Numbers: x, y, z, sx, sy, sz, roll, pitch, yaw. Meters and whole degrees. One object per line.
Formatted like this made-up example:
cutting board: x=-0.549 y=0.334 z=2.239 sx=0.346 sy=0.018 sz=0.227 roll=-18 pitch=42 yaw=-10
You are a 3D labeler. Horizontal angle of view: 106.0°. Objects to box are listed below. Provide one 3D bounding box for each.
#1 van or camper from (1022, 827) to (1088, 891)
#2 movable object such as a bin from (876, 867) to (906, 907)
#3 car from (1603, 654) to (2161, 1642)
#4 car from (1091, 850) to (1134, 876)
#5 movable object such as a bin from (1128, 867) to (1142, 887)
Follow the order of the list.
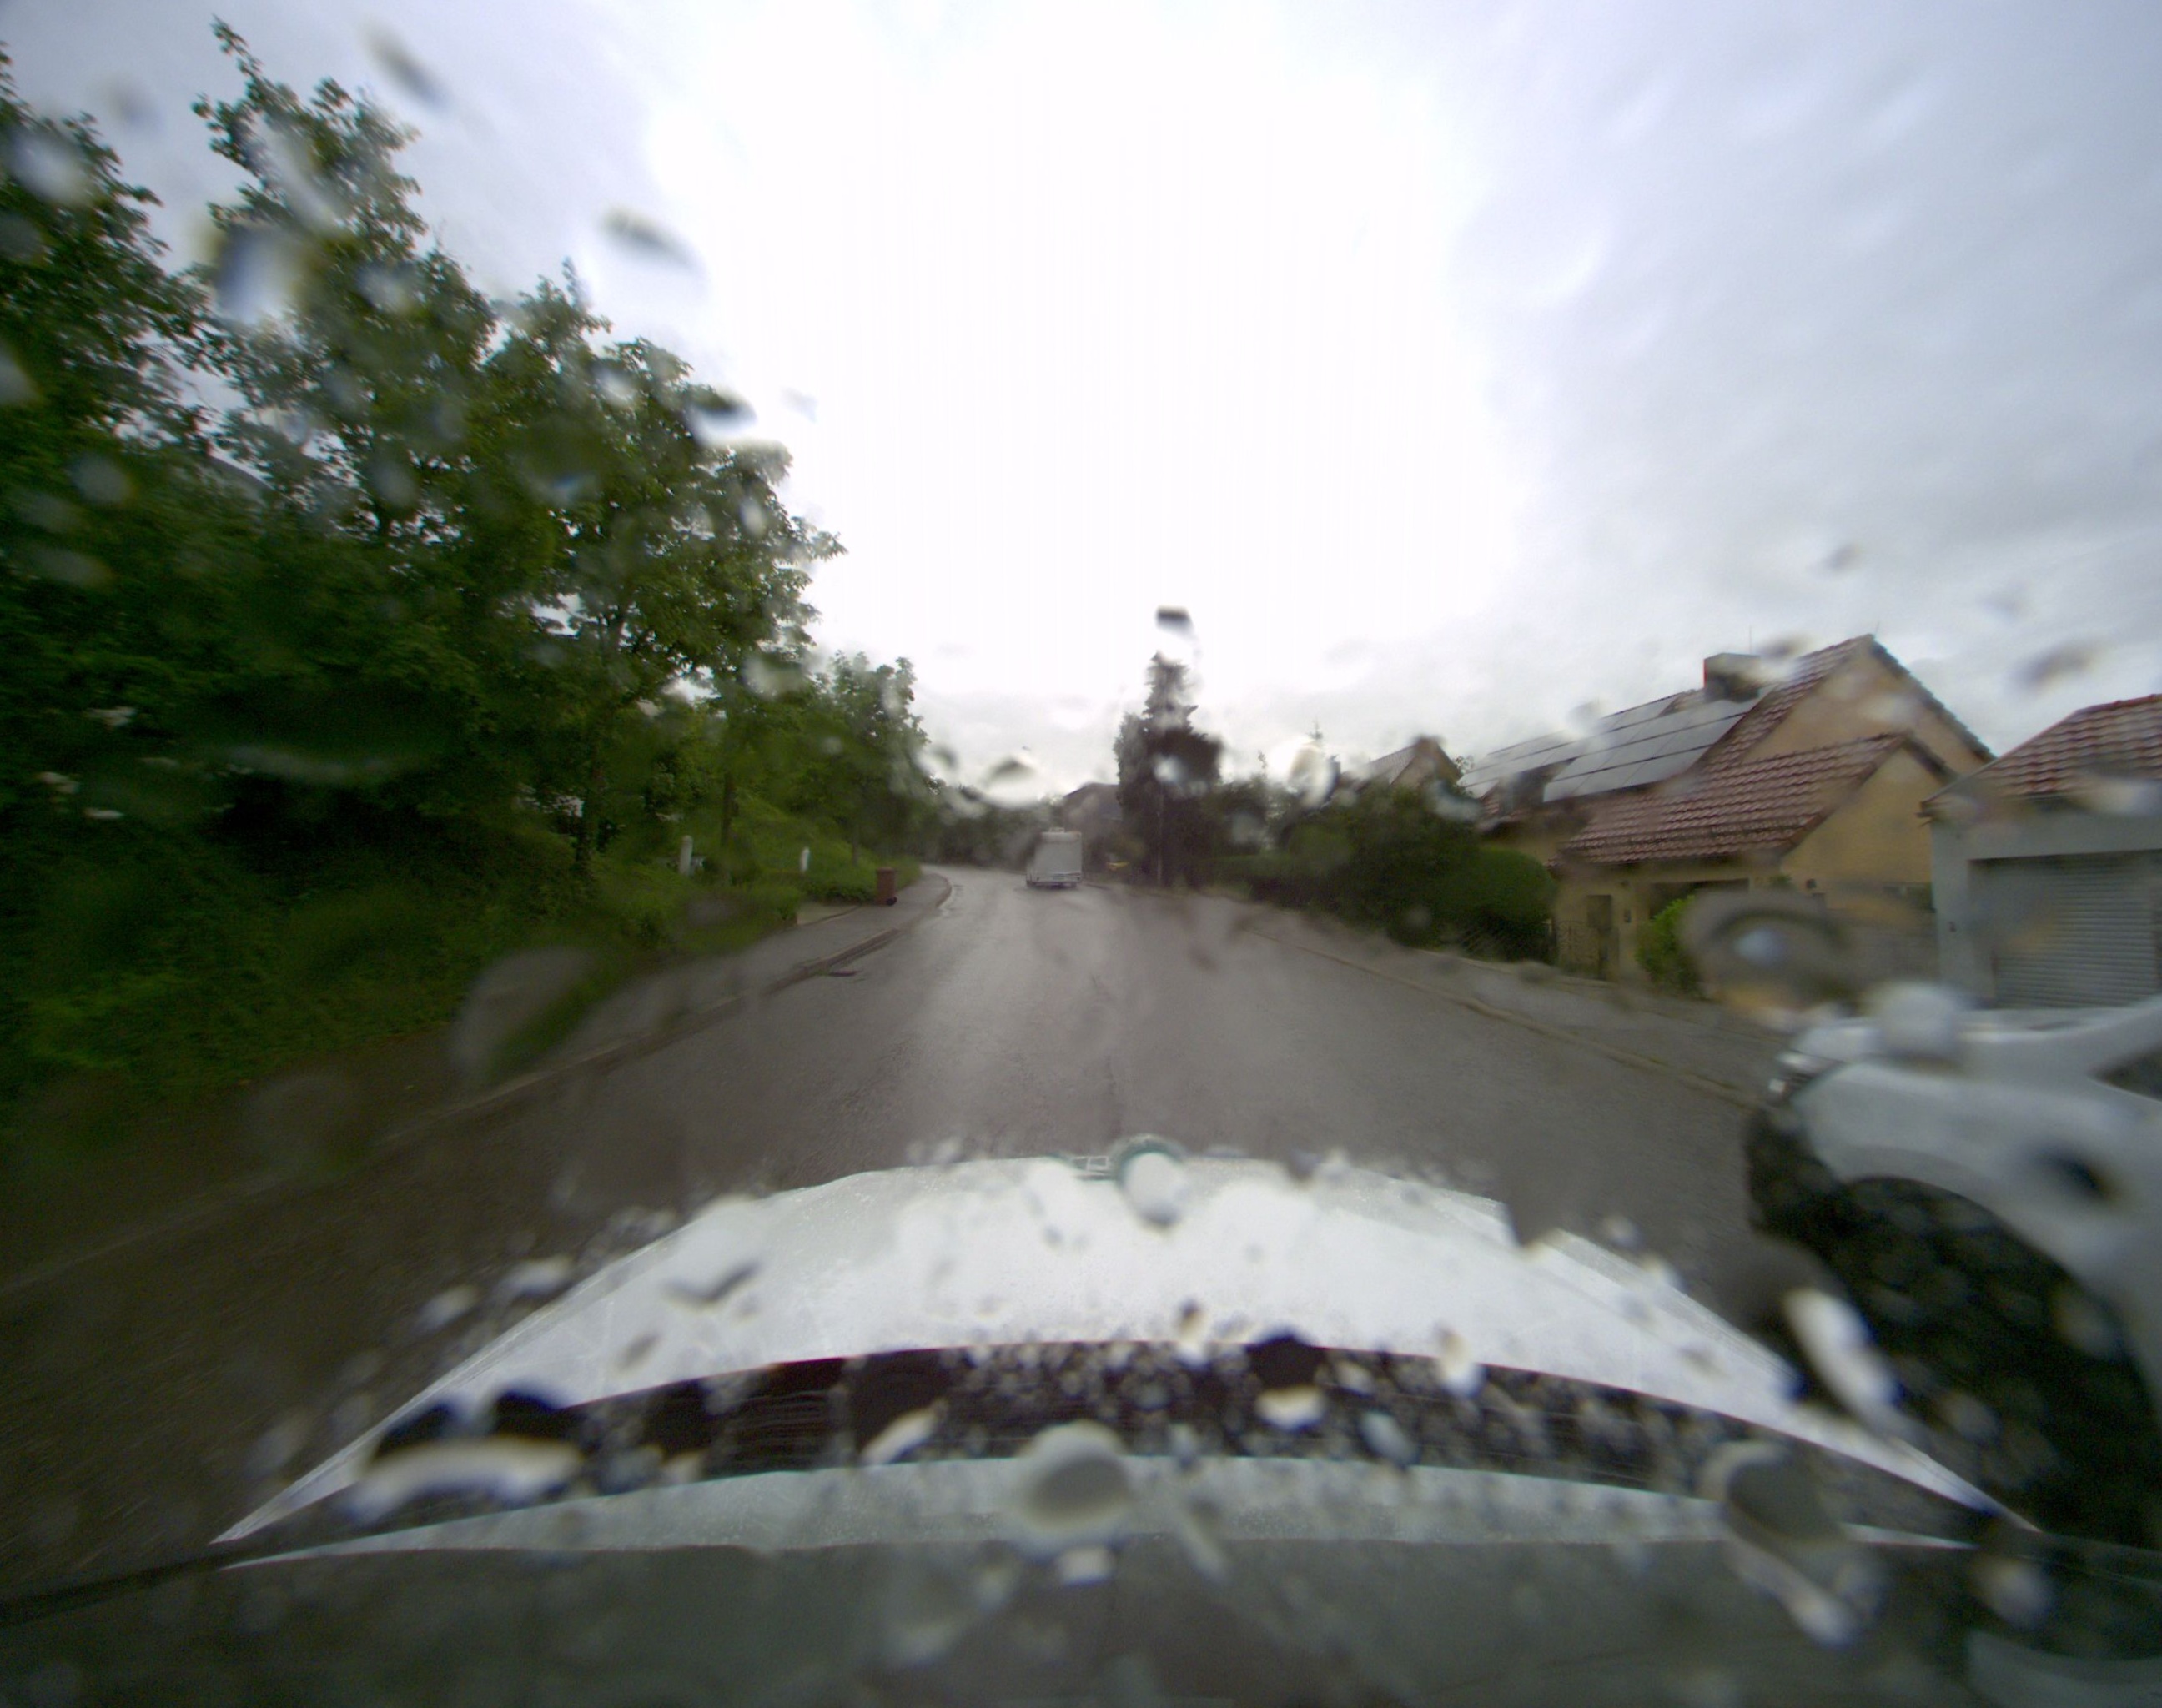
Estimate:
van or camper: x=-1.415 y=0.280 z=40.518 sx=2.540 sy=2.925 sz=5.928 roll=0 pitch=-1 yaw=-9
movable object such as a bin: x=-5.651 y=0.976 z=24.281 sx=0.692 sy=1.090 sz=0.803 roll=3 pitch=3 yaw=-1
car: x=2.893 y=0.523 z=0.665 sx=1.774 sy=1.803 sz=4.702 roll=0 pitch=-1 yaw=-3
car: x=2.031 y=0.612 z=53.184 sx=1.633 sy=1.493 sz=3.405 roll=-5 pitch=1 yaw=-18
movable object such as a bin: x=2.746 y=1.187 z=41.355 sx=0.505 sy=0.969 sz=0.592 roll=4 pitch=-1 yaw=-12
